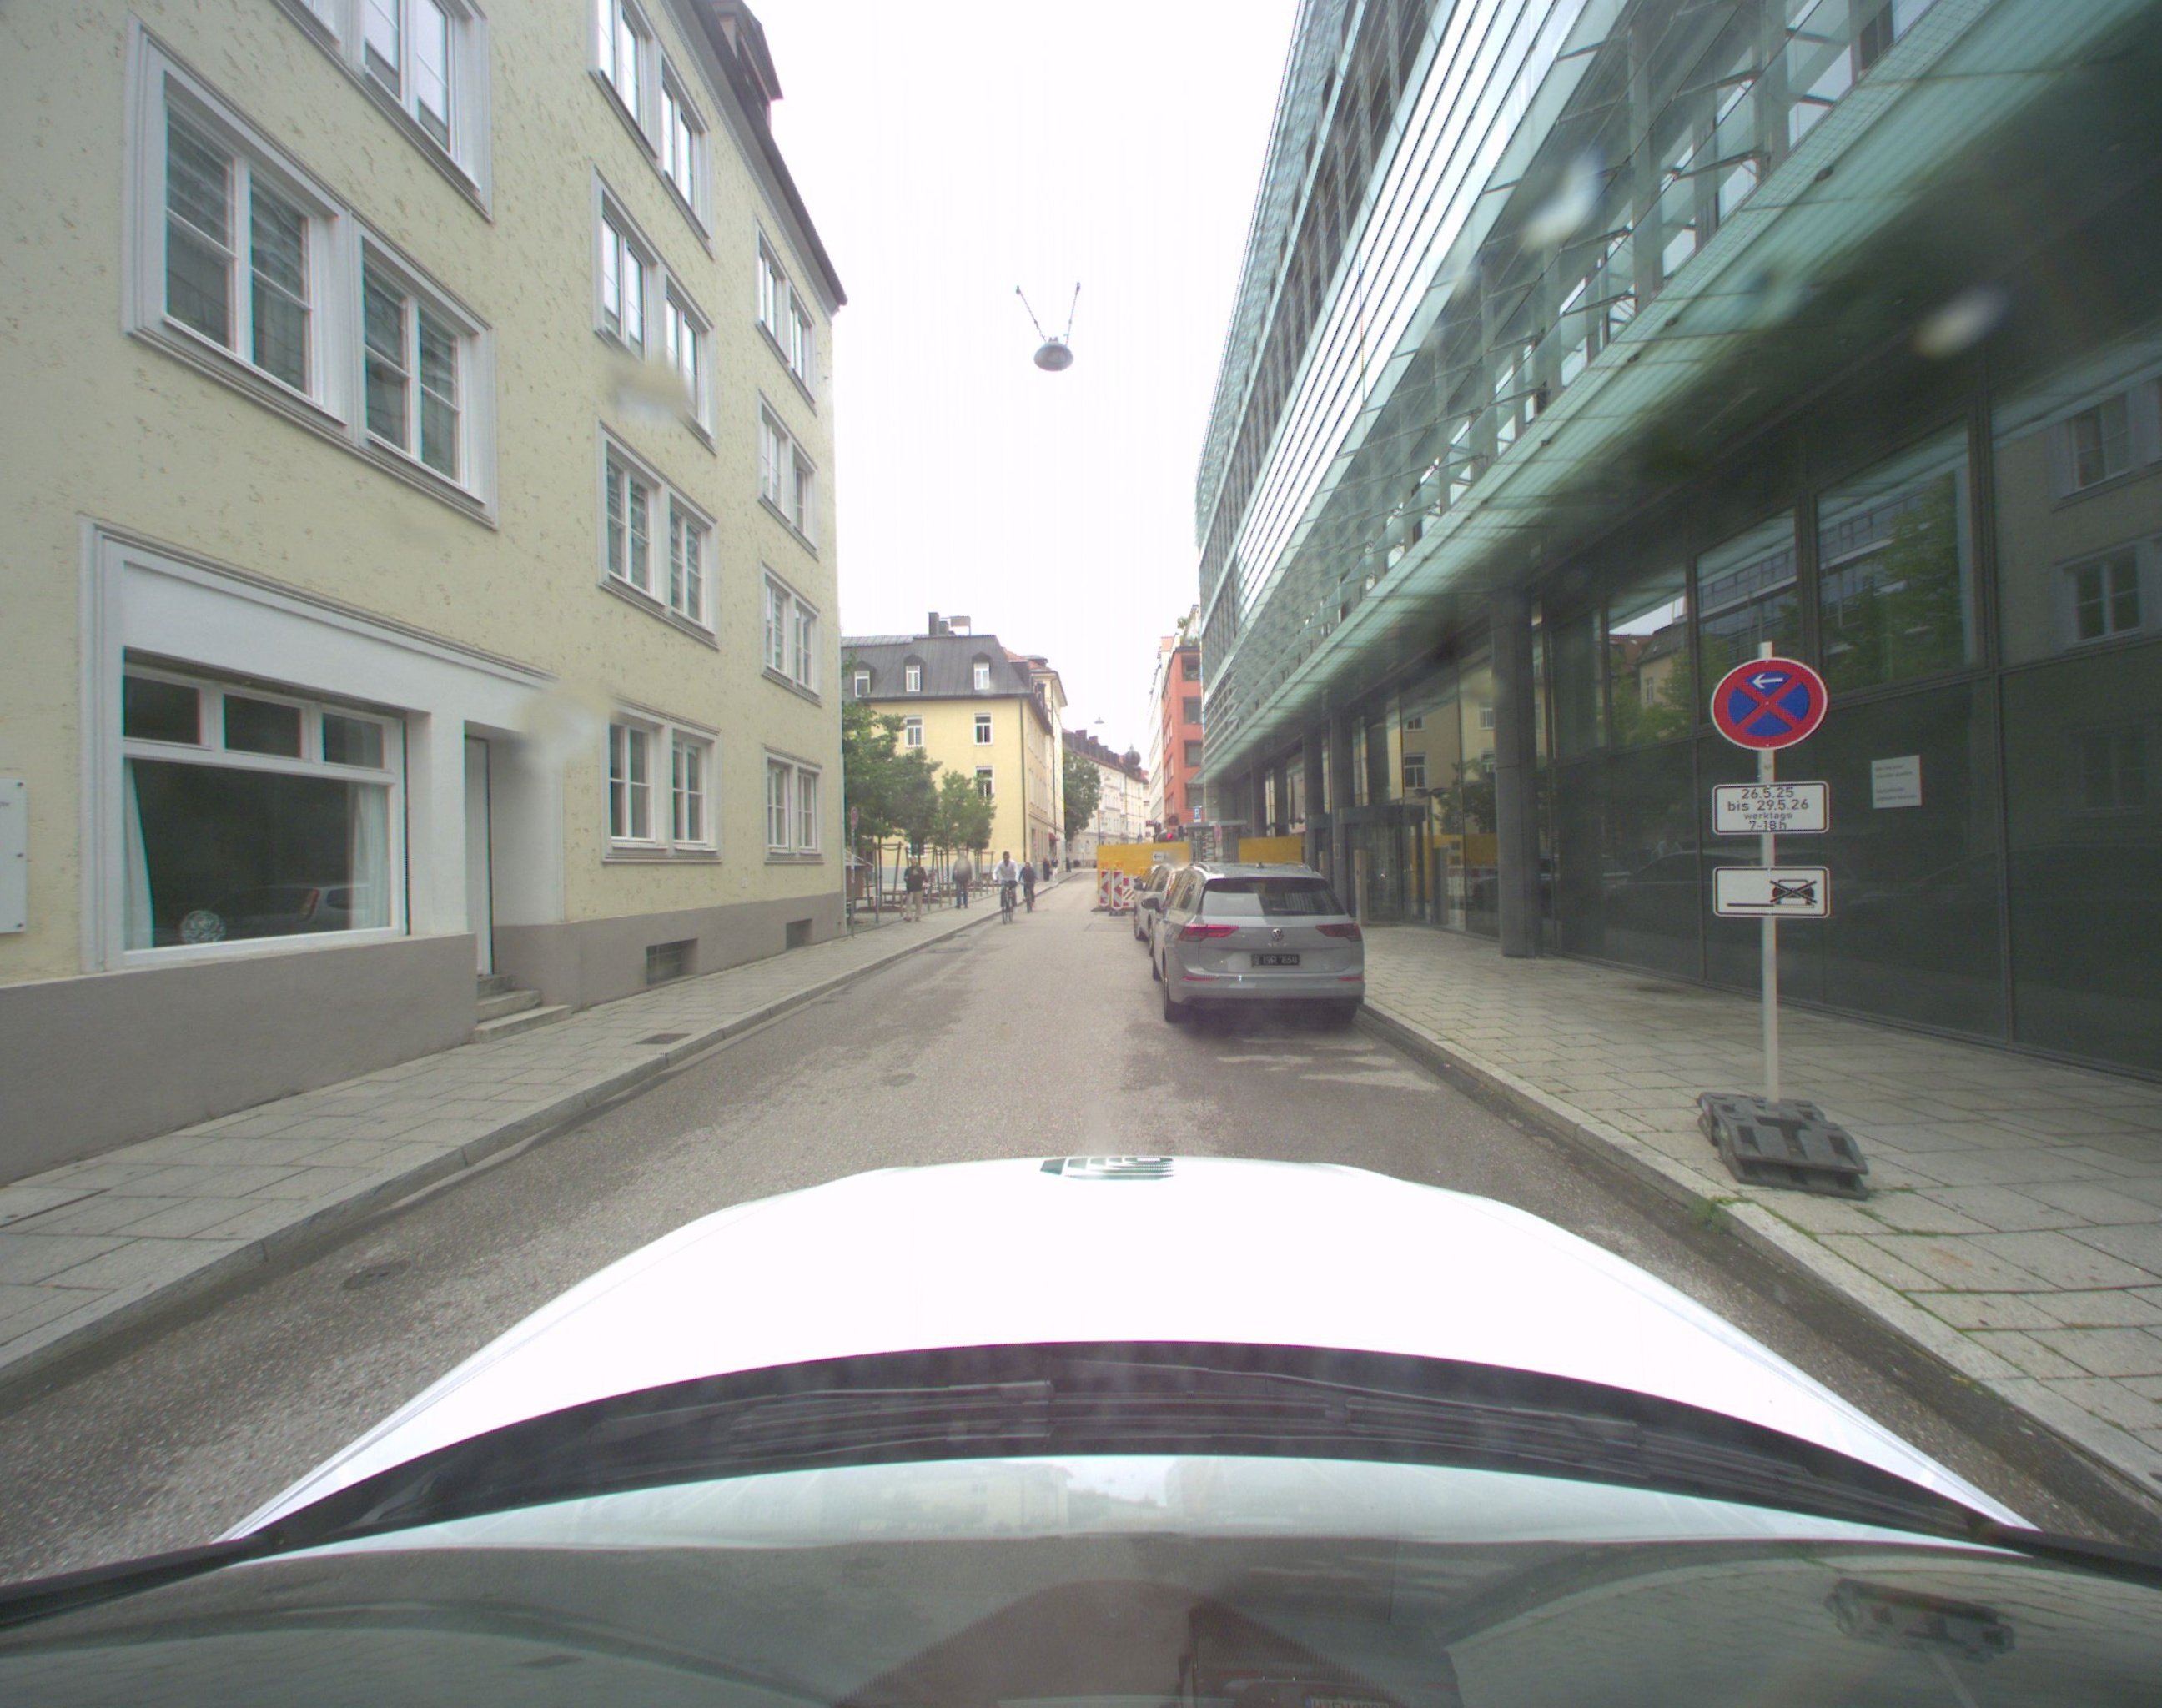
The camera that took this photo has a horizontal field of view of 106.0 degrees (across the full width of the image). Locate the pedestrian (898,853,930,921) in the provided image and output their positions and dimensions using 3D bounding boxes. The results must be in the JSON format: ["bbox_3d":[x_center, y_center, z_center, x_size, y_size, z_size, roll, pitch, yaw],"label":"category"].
[{"bbox_3d":[-4.220,0.830,20.616,0.645,1.676,0.724,-1,-1,1],"label":"pedestrian"}]

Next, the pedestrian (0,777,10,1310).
[{"bbox_3d":[-4.165,0.657,2.323,0.754,1.854,1.077,0,-1,2],"label":"pedestrian"}]

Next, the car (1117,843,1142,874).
[{"bbox_3d":[4.214,0.393,71.244,1.986,2.537,4.976,-1,0,1],"label":"car"}]

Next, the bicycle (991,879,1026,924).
[{"bbox_3d":[-1.877,1.212,21.308,0.659,1.039,2.005,-2,-1,2],"label":"bicycle"}]

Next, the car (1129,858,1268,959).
[{"bbox_3d":[1.832,0.813,13.969,1.702,1.467,4.234,0,-1,-1],"label":"car"}]

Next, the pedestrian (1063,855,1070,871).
[{"bbox_3d":[-1.481,0.924,83.966,0.632,1.675,0.518,-1,-1,1],"label":"pedestrian"}]

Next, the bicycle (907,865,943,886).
[{"bbox_3d":[-9.294,1.289,48.453,2.031,1.198,0.571,-1,-1,8],"label":"bicycle"}]

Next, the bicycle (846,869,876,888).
[{"bbox_3d":[-13.034,1.447,48.271,1.647,1.069,0.599,-1,-1,5],"label":"bicycle"}]

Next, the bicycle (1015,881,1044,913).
[{"bbox_3d":[-1.628,1.359,25.945,0.705,0.905,1.810,-2,0,2],"label":"bicycle"}]

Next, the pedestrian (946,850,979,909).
[{"bbox_3d":[-3.874,0.819,26.749,0.864,1.881,1.135,-1,-1,1],"label":"pedestrian"}]

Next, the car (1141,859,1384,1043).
[{"bbox_3d":[1.610,0.794,8.676,1.702,1.432,4.330,-2,-1,1],"label":"car"}]

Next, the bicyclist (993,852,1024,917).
[{"bbox_3d":[-1.885,0.779,21.256,0.657,1.643,0.895,-2,-1,2],"label":"bicyclist"}]

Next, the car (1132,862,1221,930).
[{"bbox_3d":[2.127,0.898,19.124,1.701,1.414,4.511,0,-1,2],"label":"car"}]

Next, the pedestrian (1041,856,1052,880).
[{"bbox_3d":[-2.339,0.950,55.246,0.668,1.648,0.762,-1,-1,1],"label":"pedestrian"}]

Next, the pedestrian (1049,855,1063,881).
[{"bbox_3d":[-1.682,0.939,54.745,0.836,1.700,0.803,-1,-1,1],"label":"pedestrian"}]

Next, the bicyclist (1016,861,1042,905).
[{"bbox_3d":[-1.644,0.914,25.957,0.705,1.371,0.813,-2,-1,1],"label":"bicyclist"}]
